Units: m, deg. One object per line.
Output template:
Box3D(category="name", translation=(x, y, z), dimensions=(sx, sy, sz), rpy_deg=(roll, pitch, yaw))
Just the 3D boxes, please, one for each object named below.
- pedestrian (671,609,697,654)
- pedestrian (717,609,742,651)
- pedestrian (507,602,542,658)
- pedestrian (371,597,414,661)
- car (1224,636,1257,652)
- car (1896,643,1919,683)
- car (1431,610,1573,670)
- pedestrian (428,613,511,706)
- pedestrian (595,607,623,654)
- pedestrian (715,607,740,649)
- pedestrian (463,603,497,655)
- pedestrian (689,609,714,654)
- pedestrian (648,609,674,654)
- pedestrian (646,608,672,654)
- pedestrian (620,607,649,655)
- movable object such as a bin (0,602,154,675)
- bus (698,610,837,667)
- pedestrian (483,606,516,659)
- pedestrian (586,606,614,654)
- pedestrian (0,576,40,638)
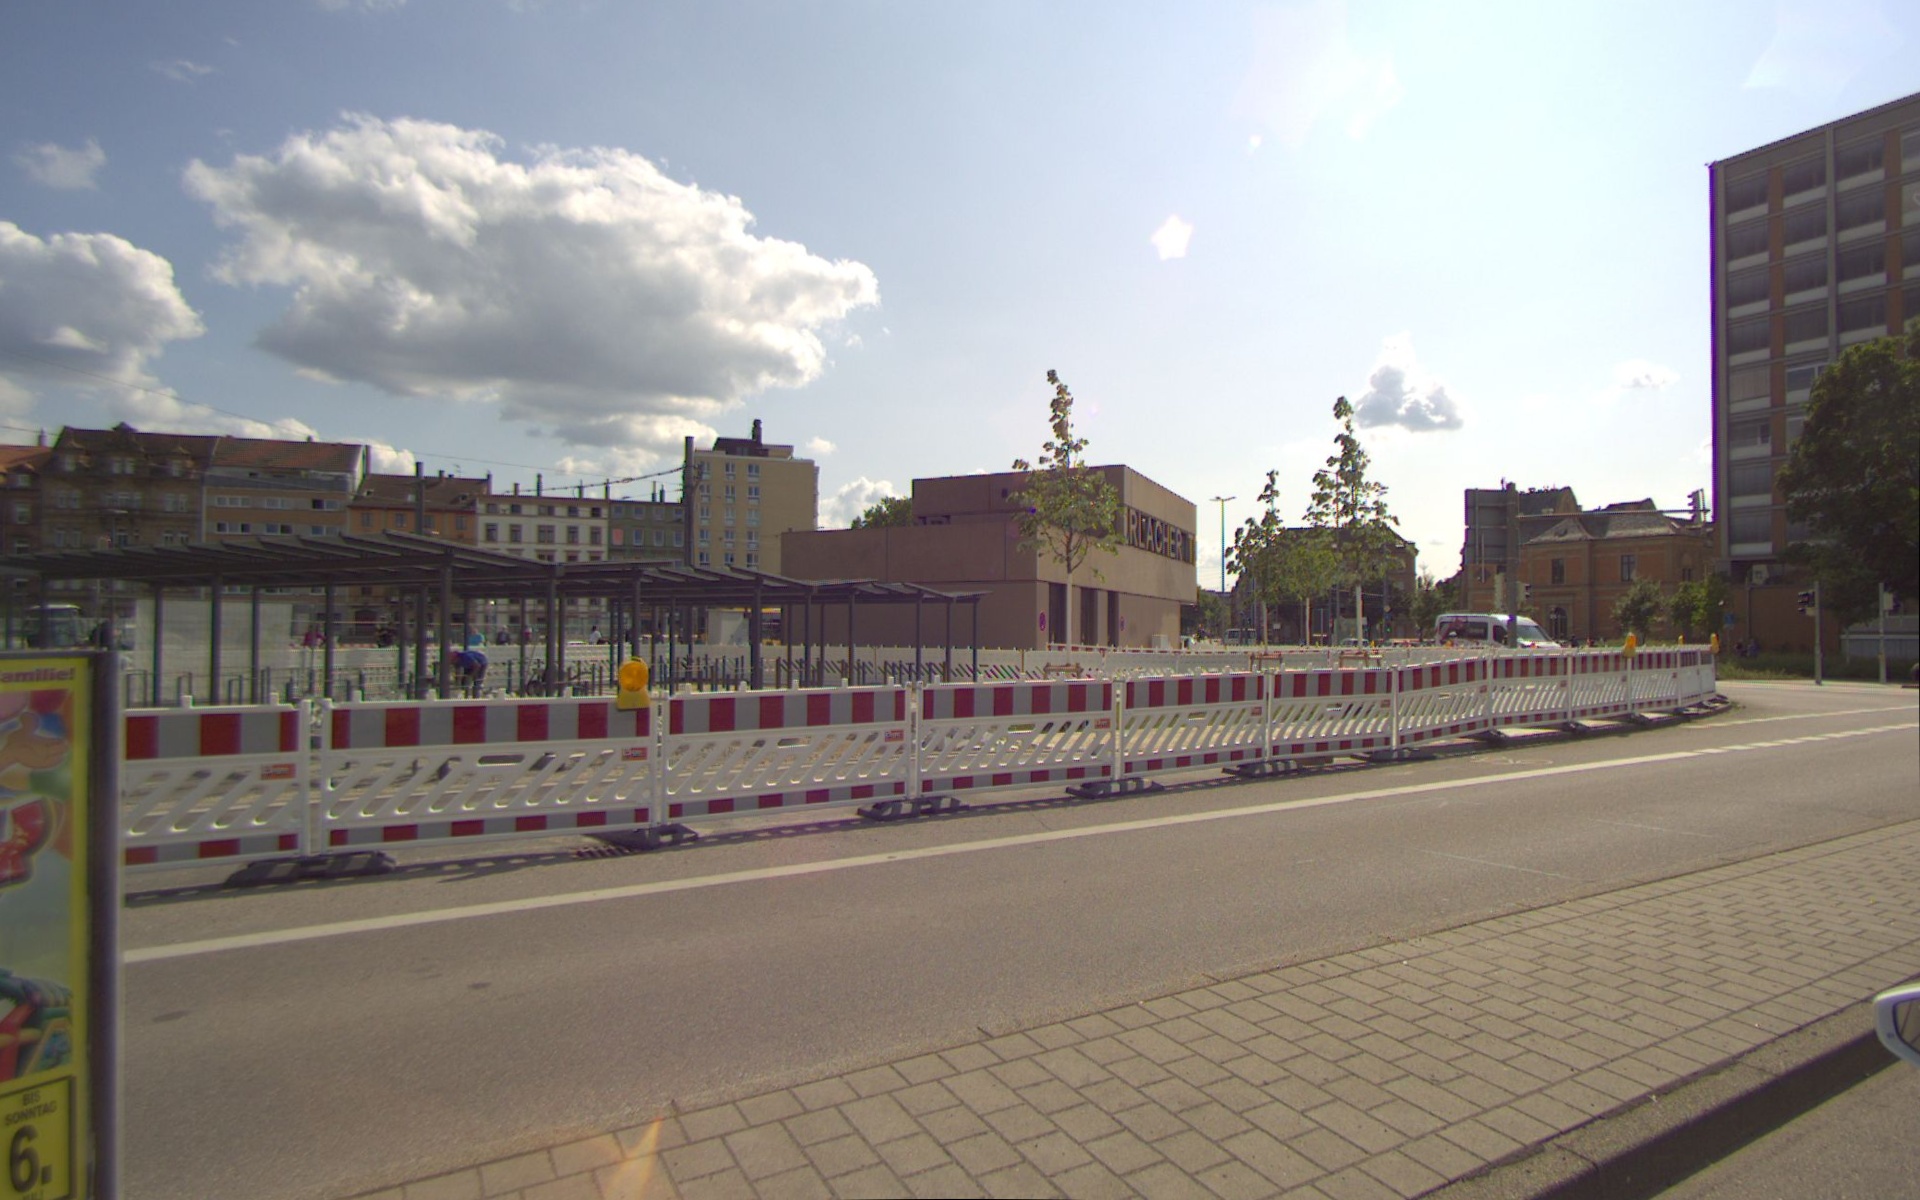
Box3D(category="pedestrian", translation=(-12.549, 1.428, 45.697), dimensions=(0.925, 2.040, 0.731), rpy_deg=(1, -1, 0))
Box3D(category="pedestrian", translation=(-11.283, 1.455, 49.245), dimensions=(0.924, 2.040, 0.731), rpy_deg=(1, -1, 14))
Box3D(category="pedestrian", translation=(-16.192, 1.122, 37.368), dimensions=(0.925, 2.040, 0.731), rpy_deg=(1, -1, 0))
Box3D(category="pedestrian", translation=(-18.531, 0.948, 32.808), dimensions=(0.925, 2.040, 0.731), rpy_deg=(1, -1, 0))
Box3D(category="car", translation=(29.013, 4.541, 104.029), dimensions=(2.015, 1.713, 3.732), rpy_deg=(0, -2, -8))
Box3D(category="car", translation=(37.088, 2.339, 36.831), dimensions=(1.600, 1.475, 3.723), rpy_deg=(1, -2, -17))
Box3D(category="car", translation=(22.620, 1.679, 42.246), dimensions=(2.261, 2.349, 5.579), rpy_deg=(0, -2, -11))
Box3D(category="pedestrian", translation=(-9.971, 1.195, 20.462), dimensions=(0.918, 1.813, 1.179), rpy_deg=(0, -1, 21))
Box3D(category="pedestrian", translation=(-15.590, 1.344, 44.632), dimensions=(0.925, 2.040, 0.731), rpy_deg=(1, -1, 0))
Box3D(category="pedestrian", translation=(-11.455, 1.376, 49.522), dimensions=(0.924, 2.040, 0.731), rpy_deg=(1, -1, 14))
Box3D(category="pedestrian", translation=(-19.005, 1.146, 39.785), dimensions=(0.925, 2.040, 0.731), rpy_deg=(1, -1, 0))
Box3D(category="pedestrian", translation=(-11.940, 1.460, 46.453), dimensions=(0.925, 2.040, 0.731), rpy_deg=(1, -1, 0))
Box3D(category="pedestrian", translation=(-13.868, 1.472, 46.631), dimensions=(0.925, 2.040, 0.731), rpy_deg=(1, -1, 0))
Box3D(category="pedestrian", translation=(-13.697, 1.411, 45.777), dimensions=(0.925, 2.040, 0.731), rpy_deg=(1, -1, 0))
Box3D(category="pedestrian", translation=(-13.930, 1.326, 42.999), dimensions=(0.925, 2.040, 0.731), rpy_deg=(1, -1, 0))
Box3D(category="movable object such as a bin", translation=(-33.863, 1.453, 38.414), dimensions=(2.602, 2.608, 3.995), rpy_deg=(-1, -2, 27))
Box3D(category="bus", translation=(-10.911, 2.185, 58.516), dimensions=(2.384, 3.022, 10.537), rpy_deg=(-1, -2, 24))
Box3D(category="pedestrian", translation=(-17.897, 1.256, 39.057), dimensions=(0.926, 2.040, 0.731), rpy_deg=(1, -1, -4))
Box3D(category="pedestrian", translation=(-15.602, 1.313, 43.569), dimensions=(0.925, 2.040, 0.731), rpy_deg=(1, -1, 0))
Box3D(category="pedestrian", translation=(-22.696, 0.178, 24.017), dimensions=(0.926, 1.450, 0.730), rpy_deg=(0, -2, 27))
